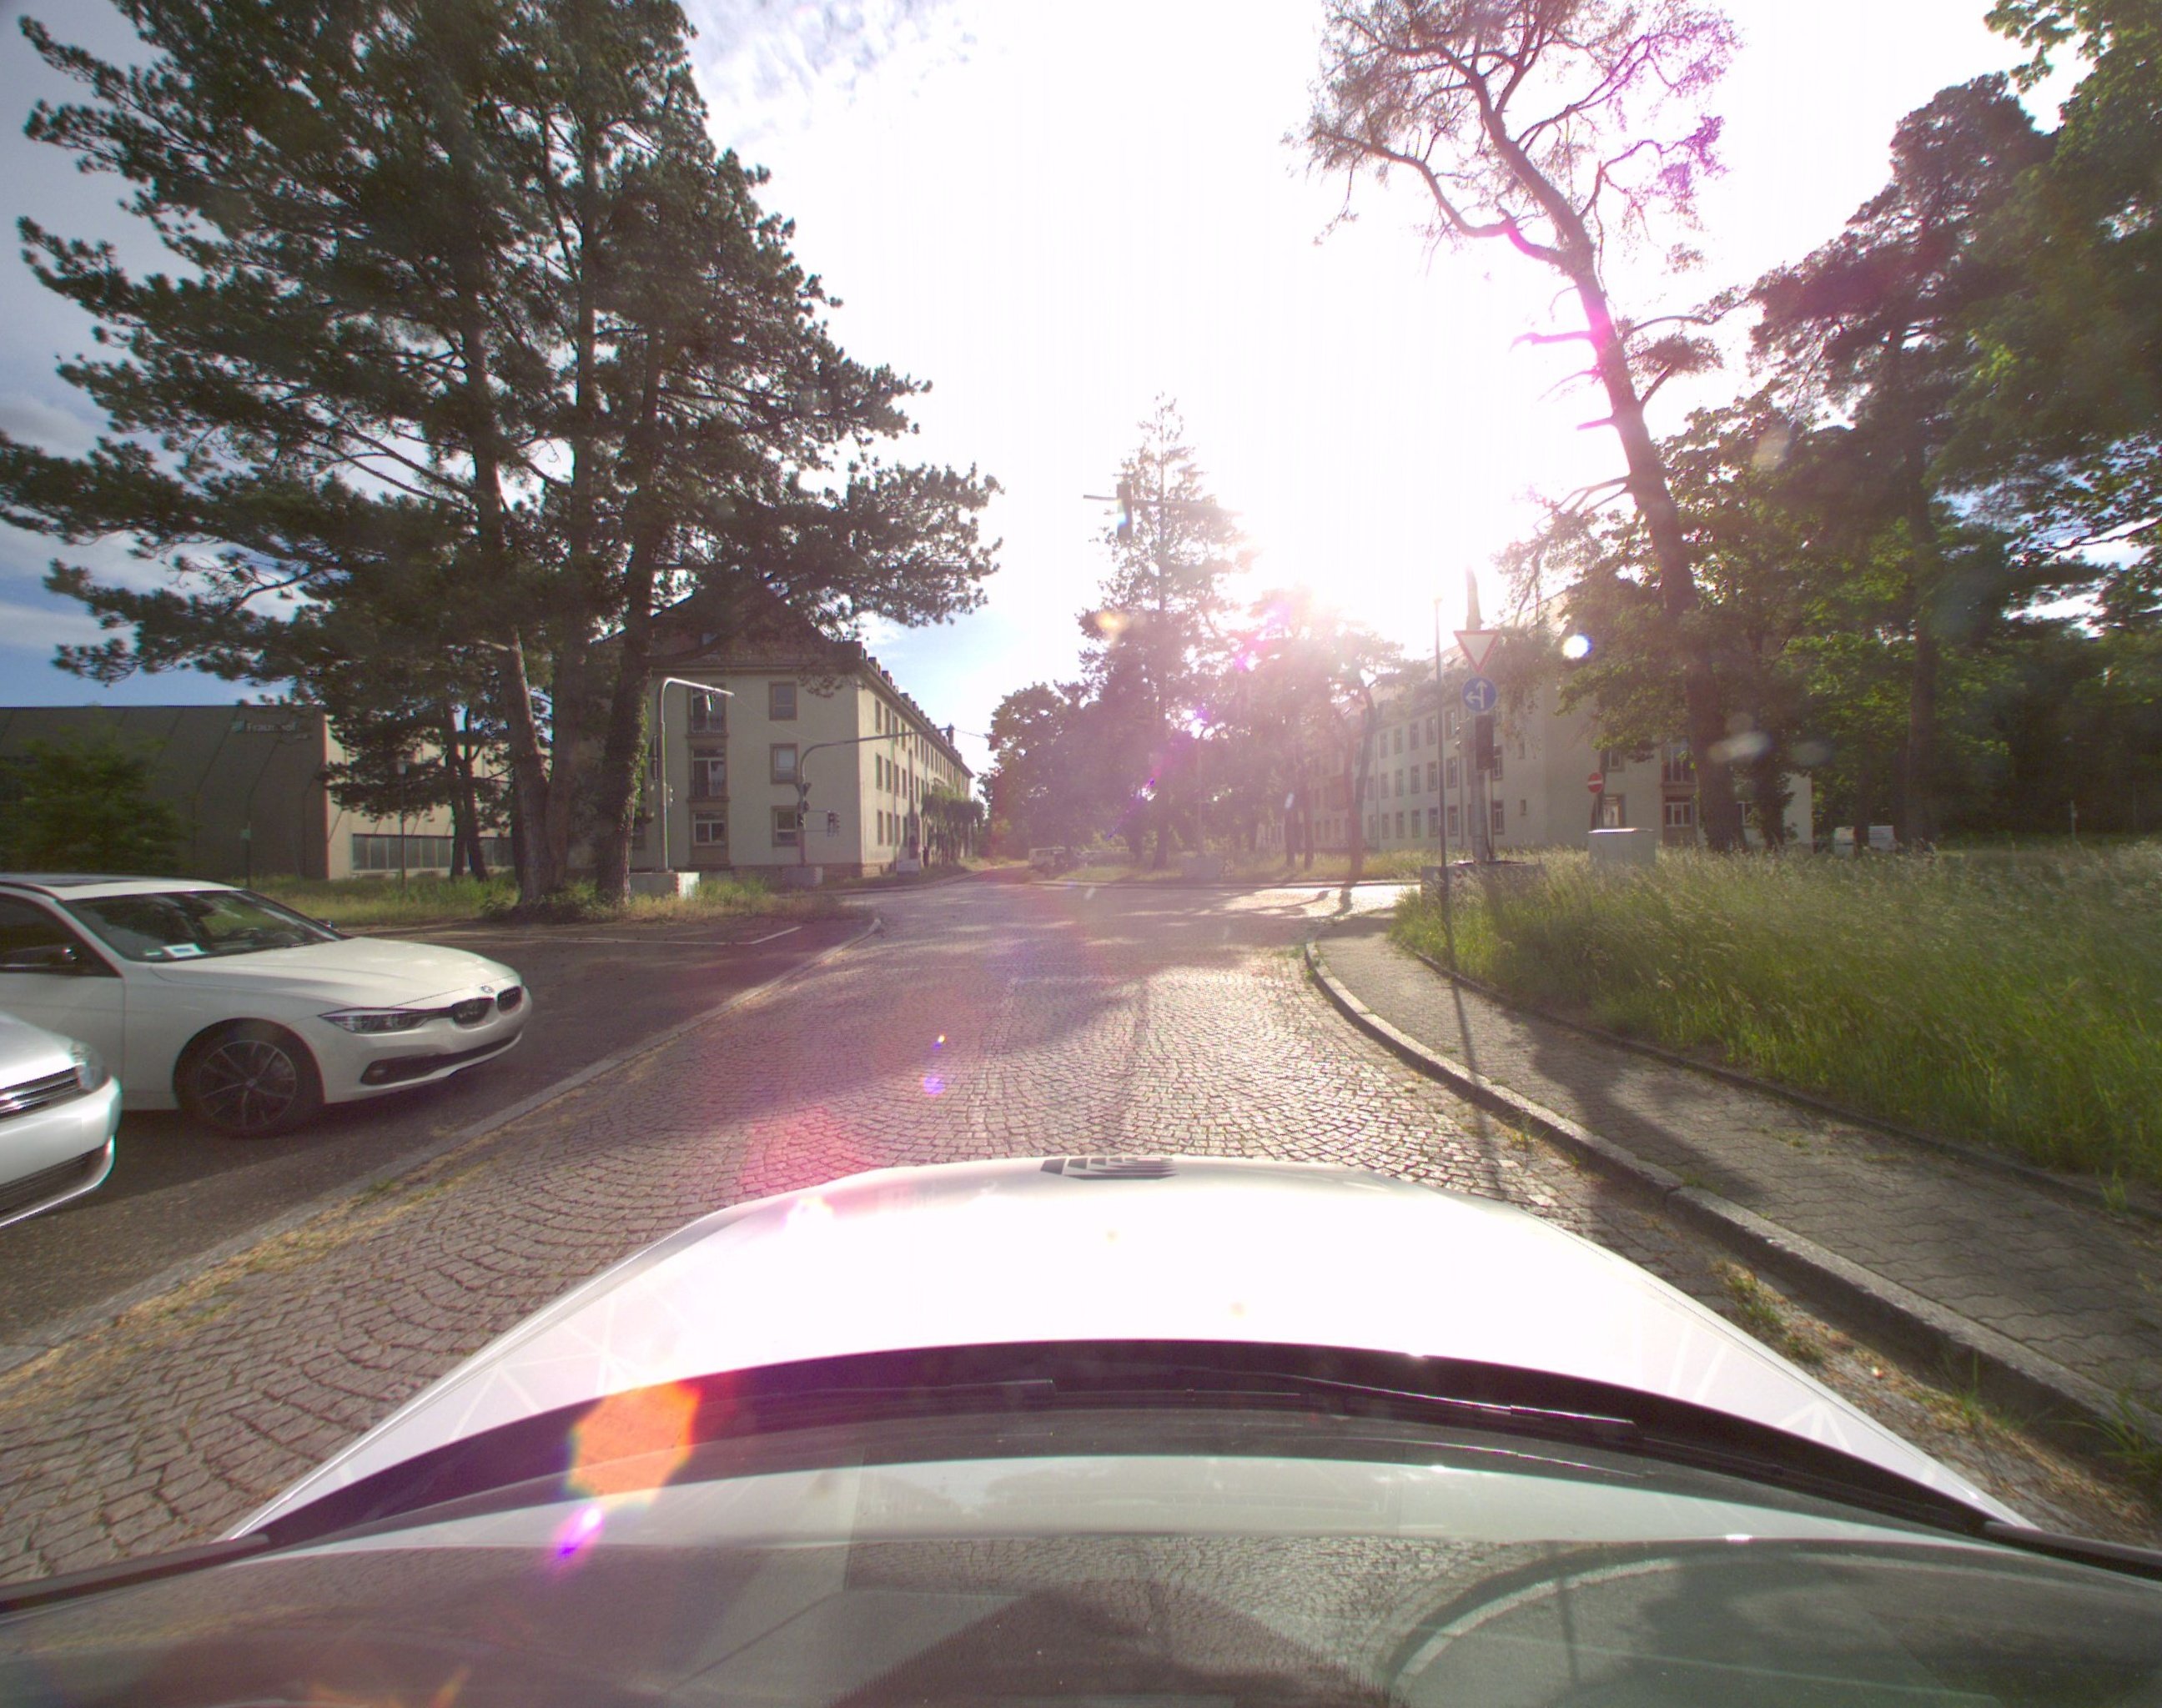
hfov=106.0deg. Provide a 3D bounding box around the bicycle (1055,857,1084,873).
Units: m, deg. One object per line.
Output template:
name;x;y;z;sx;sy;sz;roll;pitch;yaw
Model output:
bicycle;-0.756;0.719;53.055;1.789;0.999;0.643;-2;1;-4

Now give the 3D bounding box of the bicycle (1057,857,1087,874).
bicycle;-0.578;0.703;49.804;1.789;0.999;0.643;-2;1;-4

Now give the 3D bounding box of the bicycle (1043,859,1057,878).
bicycle;-1.779;0.830;46.142;0.726;0.999;1.797;-2;1;-3

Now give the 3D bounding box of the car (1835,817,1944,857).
car;54.515;-1.146;54.984;5.144;2.536;2.263;-1;0;-2

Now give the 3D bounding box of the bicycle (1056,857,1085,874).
bicycle;-0.661;0.712;51.543;1.789;0.999;0.643;-2;1;-4

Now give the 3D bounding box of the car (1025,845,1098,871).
car;-1.615;0.328;65.690;5.514;1.916;2.241;-1;0;-17

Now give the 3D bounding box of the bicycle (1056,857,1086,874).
bicycle;-0.626;0.709;50.822;1.789;0.999;0.643;-2;1;-4

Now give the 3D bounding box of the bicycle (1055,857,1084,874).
bicycle;-0.729;0.717;52.318;1.789;0.999;0.643;-2;1;-4

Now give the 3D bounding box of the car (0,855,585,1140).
car;-6.200;0.809;5.370;4.580;1.455;1.900;2;1;-6

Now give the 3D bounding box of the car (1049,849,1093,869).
car;-0.785;0.379;62.170;3.038;1.465;1.711;-1;-1;-16

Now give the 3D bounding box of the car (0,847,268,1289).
car;-5.996;0.738;2.838;4.118;1.600;1.854;2;-1;-8

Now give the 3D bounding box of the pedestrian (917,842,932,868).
pedestrian;-11.802;0.094;61.514;0.983;1.963;0.931;-1;-1;-4

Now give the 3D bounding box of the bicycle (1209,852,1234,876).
bicycle;6.207;0.444;36.017;0.561;0.999;1.748;-2;1;-7
